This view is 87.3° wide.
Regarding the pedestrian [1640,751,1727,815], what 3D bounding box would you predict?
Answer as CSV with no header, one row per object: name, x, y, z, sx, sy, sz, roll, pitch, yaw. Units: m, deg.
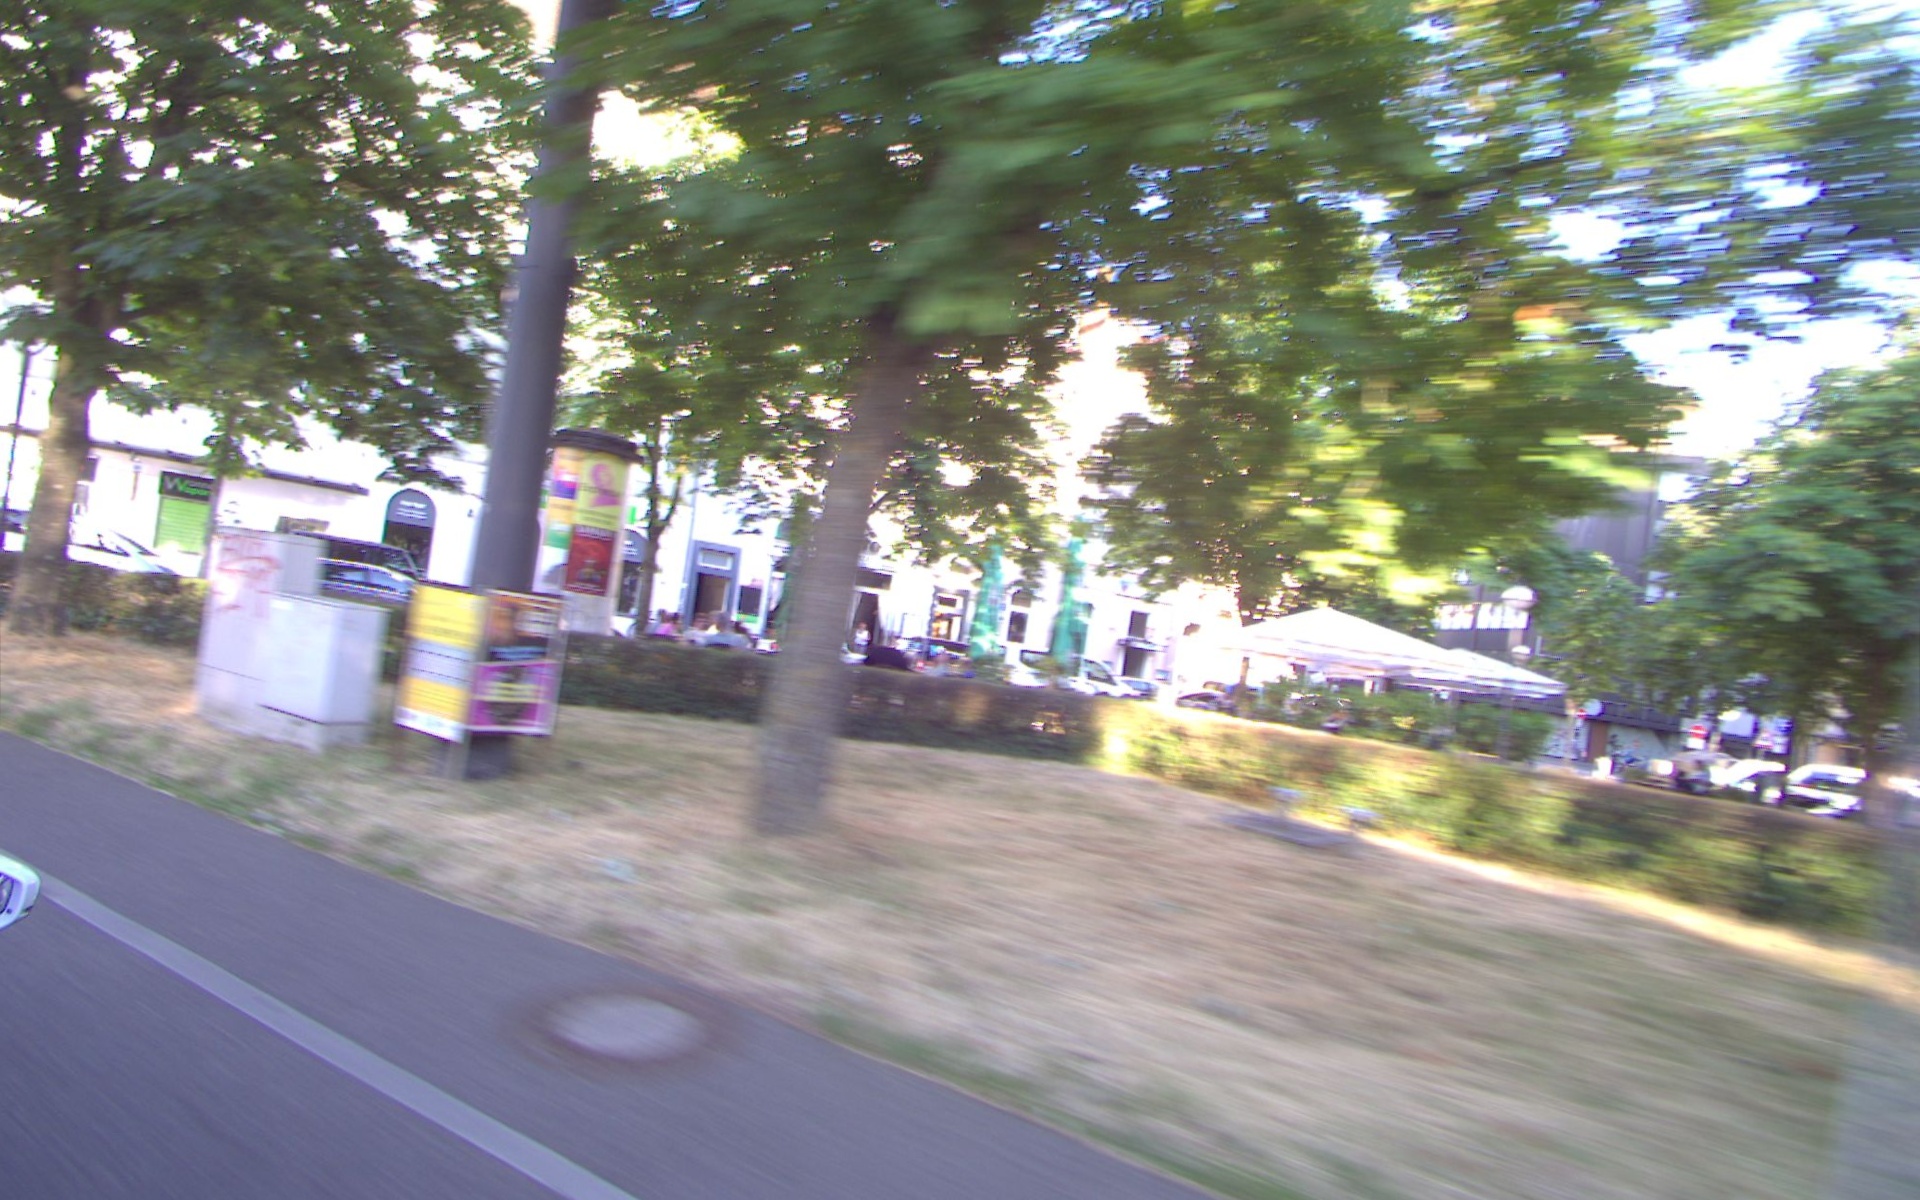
pedestrian,17.868,4.508,24.891,1.427,1.263,1.034,8,-2,25

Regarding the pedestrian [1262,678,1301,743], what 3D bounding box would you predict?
pedestrian,8.484,2.912,26.534,0.629,1.596,0.529,8,-2,-7

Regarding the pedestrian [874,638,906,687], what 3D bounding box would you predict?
pedestrian,-2.437,2.174,35.045,0.727,1.586,0.682,9,-2,-27

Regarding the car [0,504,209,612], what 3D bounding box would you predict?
car,-16.652,-0.817,19.024,3.539,1.530,1.727,10,-3,-28

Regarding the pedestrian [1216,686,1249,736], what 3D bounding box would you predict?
pedestrian,6.770,2.751,24.989,0.522,1.129,0.458,8,-2,-7

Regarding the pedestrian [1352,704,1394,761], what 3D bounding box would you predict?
pedestrian,8.985,2.883,21.901,0.548,1.129,0.493,8,-2,-7

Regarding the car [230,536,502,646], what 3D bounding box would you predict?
car,-12.340,-0.142,21.237,4.623,1.530,1.727,10,-3,-28

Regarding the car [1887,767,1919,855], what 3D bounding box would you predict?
car,22.276,4.878,22.362,3.976,1.792,1.892,12,-4,-40

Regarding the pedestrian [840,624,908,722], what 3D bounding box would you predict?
pedestrian,-1.324,1.091,15.290,0.720,1.371,1.013,7,-2,-14

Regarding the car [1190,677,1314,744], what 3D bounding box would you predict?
car,11.592,4.392,39.900,4.464,1.984,2.010,10,-3,-28

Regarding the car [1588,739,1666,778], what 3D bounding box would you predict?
car,34.729,8.251,52.382,3.513,1.437,1.873,10,-3,-28

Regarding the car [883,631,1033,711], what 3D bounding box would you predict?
car,-0.039,2.408,33.996,4.464,1.984,2.010,10,-3,-28

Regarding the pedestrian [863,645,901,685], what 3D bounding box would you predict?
pedestrian,-2.812,2.334,36.122,1.016,1.259,0.682,9,-2,-27

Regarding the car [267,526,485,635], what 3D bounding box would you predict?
car,-14.775,-0.449,25.762,4.463,1.985,2.010,10,-3,-28

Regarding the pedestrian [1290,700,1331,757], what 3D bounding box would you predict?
pedestrian,7.556,2.766,21.713,0.548,1.129,0.493,8,-2,-7

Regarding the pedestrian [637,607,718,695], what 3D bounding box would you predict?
pedestrian,-4.806,0.865,17.116,0.946,1.296,0.657,15,-5,-35

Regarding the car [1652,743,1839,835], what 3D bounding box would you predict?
car,22.204,5.331,28.493,3.935,1.792,1.911,10,-3,-10

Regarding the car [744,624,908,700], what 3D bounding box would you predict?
car,-4.136,1.926,31.141,4.464,1.634,2.010,10,-3,-28

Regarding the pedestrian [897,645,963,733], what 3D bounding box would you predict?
pedestrian,-0.490,1.405,16.109,0.654,1.254,0.950,12,-4,-13

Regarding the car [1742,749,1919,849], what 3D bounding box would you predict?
car,21.961,4.993,25.263,3.951,1.792,1.903,10,-3,-23

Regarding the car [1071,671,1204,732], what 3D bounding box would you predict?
car,6.581,3.759,37.229,4.464,1.588,2.010,10,-3,-28

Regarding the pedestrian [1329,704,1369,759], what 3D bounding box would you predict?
pedestrian,8.771,2.953,22.714,0.548,1.129,0.493,8,-2,-7

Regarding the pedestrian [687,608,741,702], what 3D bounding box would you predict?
pedestrian,-3.540,0.779,14.469,0.560,1.258,0.611,8,-2,-17

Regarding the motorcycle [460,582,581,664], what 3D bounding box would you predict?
motorcycle,-8.921,0.510,20.571,0.933,1.382,2.249,7,-4,14

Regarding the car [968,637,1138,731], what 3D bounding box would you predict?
car,2.730,2.458,29.387,4.386,2.035,1.988,10,-3,-27

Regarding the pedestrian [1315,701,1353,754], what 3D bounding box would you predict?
pedestrian,8.742,2.965,23.524,0.548,1.129,0.493,8,-2,-7

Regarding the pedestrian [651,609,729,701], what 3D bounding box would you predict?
pedestrian,-4.195,0.839,15.594,0.772,1.256,0.981,10,-2,-30

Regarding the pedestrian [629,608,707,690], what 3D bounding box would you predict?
pedestrian,-5.183,0.867,17.834,0.946,1.254,0.657,15,-5,-35

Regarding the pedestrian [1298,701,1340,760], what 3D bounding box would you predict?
pedestrian,7.514,2.726,21.064,0.548,1.129,0.493,8,-2,-7

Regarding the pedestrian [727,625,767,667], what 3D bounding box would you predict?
pedestrian,-7.176,1.555,33.908,1.016,1.259,0.682,9,-2,-27

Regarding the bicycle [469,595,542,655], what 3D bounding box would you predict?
bicycle,-7.876,0.452,17.489,0.546,0.939,1.530,8,-3,-4

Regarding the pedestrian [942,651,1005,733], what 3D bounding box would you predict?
pedestrian,0.221,1.545,17.102,0.653,1.255,0.950,11,-4,-13

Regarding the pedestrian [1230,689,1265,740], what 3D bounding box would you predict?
pedestrian,6.962,2.765,24.341,0.548,1.129,0.458,8,-2,-7

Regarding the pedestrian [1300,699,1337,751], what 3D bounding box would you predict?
pedestrian,8.608,2.999,24.181,0.548,1.129,0.493,8,-2,-7

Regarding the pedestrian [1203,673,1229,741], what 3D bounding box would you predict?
pedestrian,6.582,2.749,25.822,0.382,1.704,0.329,7,-2,29

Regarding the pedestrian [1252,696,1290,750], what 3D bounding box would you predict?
pedestrian,7.112,2.800,23.015,0.548,1.129,0.458,8,-2,-7

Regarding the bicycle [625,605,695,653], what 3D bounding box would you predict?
bicycle,-9.704,0.950,32.559,1.966,1.259,0.682,9,-2,-28
